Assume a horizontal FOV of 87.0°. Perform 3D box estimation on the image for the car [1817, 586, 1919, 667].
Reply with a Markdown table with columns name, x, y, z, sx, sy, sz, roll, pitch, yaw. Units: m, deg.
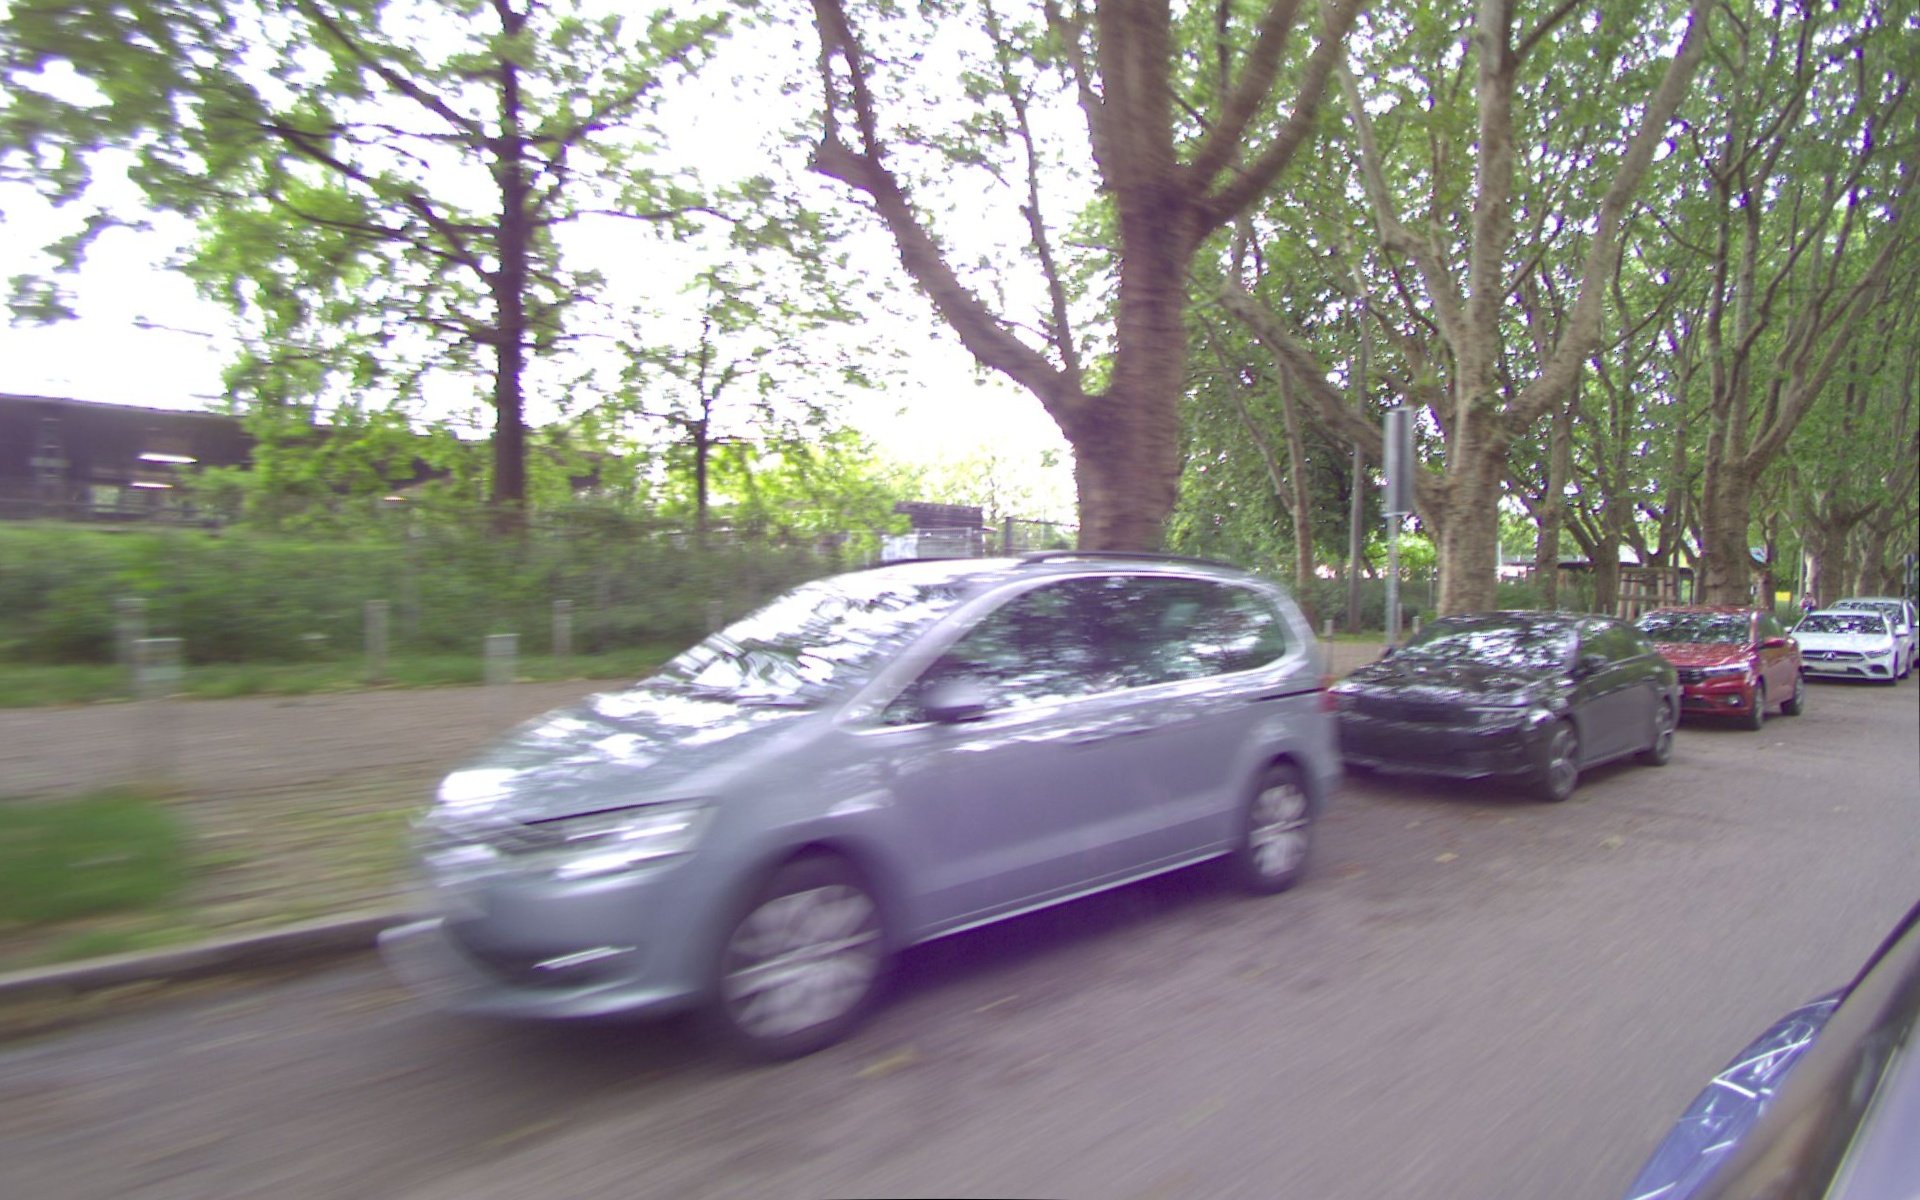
| name | x | y | z | sx | sy | sz | roll | pitch | yaw |
| --- | --- | --- | --- | --- | --- | --- | --- | --- | --- |
| car | 22.521 | 0.594 | 24.614 | 4.427 | 1.760 | 1.906 | 0 | 1 | -41 |

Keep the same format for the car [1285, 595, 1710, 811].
| name | x | y | z | sx | sy | sz | roll | pitch | yaw |
| --- | --- | --- | --- | --- | --- | --- | --- | --- | --- |
| car | 4.993 | 0.718 | 9.130 | 4.400 | 1.445 | 1.881 | 0 | 1 | -40 |

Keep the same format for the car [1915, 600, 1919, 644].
| name | x | y | z | sx | sy | sz | roll | pitch | yaw |
| --- | --- | --- | --- | --- | --- | --- | --- | --- | --- |
| car | 32.854 | 0.725 | 33.309 | 3.821 | 1.445 | 1.710 | 0 | 0 | -41 |

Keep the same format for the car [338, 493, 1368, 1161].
| name | x | y | z | sx | sy | sz | roll | pitch | yaw |
| --- | --- | --- | --- | --- | --- | --- | --- | --- | --- |
| car | -0.113 | 0.543 | 4.869 | 4.650 | 1.701 | 1.985 | 0 | 2 | -42 |

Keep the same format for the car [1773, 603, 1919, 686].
| name | x | y | z | sx | sy | sz | roll | pitch | yaw |
| --- | --- | --- | --- | --- | --- | --- | --- | --- | --- |
| car | 18.281 | 0.823 | 20.675 | 4.506 | 1.445 | 1.880 | 0 | 1 | -42 |

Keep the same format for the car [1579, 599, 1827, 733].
| name | x | y | z | sx | sy | sz | roll | pitch | yaw |
| --- | --- | --- | --- | --- | --- | --- | --- | --- | --- |
| car | 10.152 | 0.761 | 13.723 | 4.104 | 1.500 | 1.860 | 0 | 1 | -41 |

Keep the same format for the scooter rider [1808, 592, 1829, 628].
| name | x | y | z | sx | sy | sz | roll | pitch | yaw |
| --- | --- | --- | --- | --- | --- | --- | --- | --- | --- |
| scooter rider | 45.141 | 0.532 | 53.226 | 0.577 | 1.822 | 0.678 | 1 | 3 | -41 |
